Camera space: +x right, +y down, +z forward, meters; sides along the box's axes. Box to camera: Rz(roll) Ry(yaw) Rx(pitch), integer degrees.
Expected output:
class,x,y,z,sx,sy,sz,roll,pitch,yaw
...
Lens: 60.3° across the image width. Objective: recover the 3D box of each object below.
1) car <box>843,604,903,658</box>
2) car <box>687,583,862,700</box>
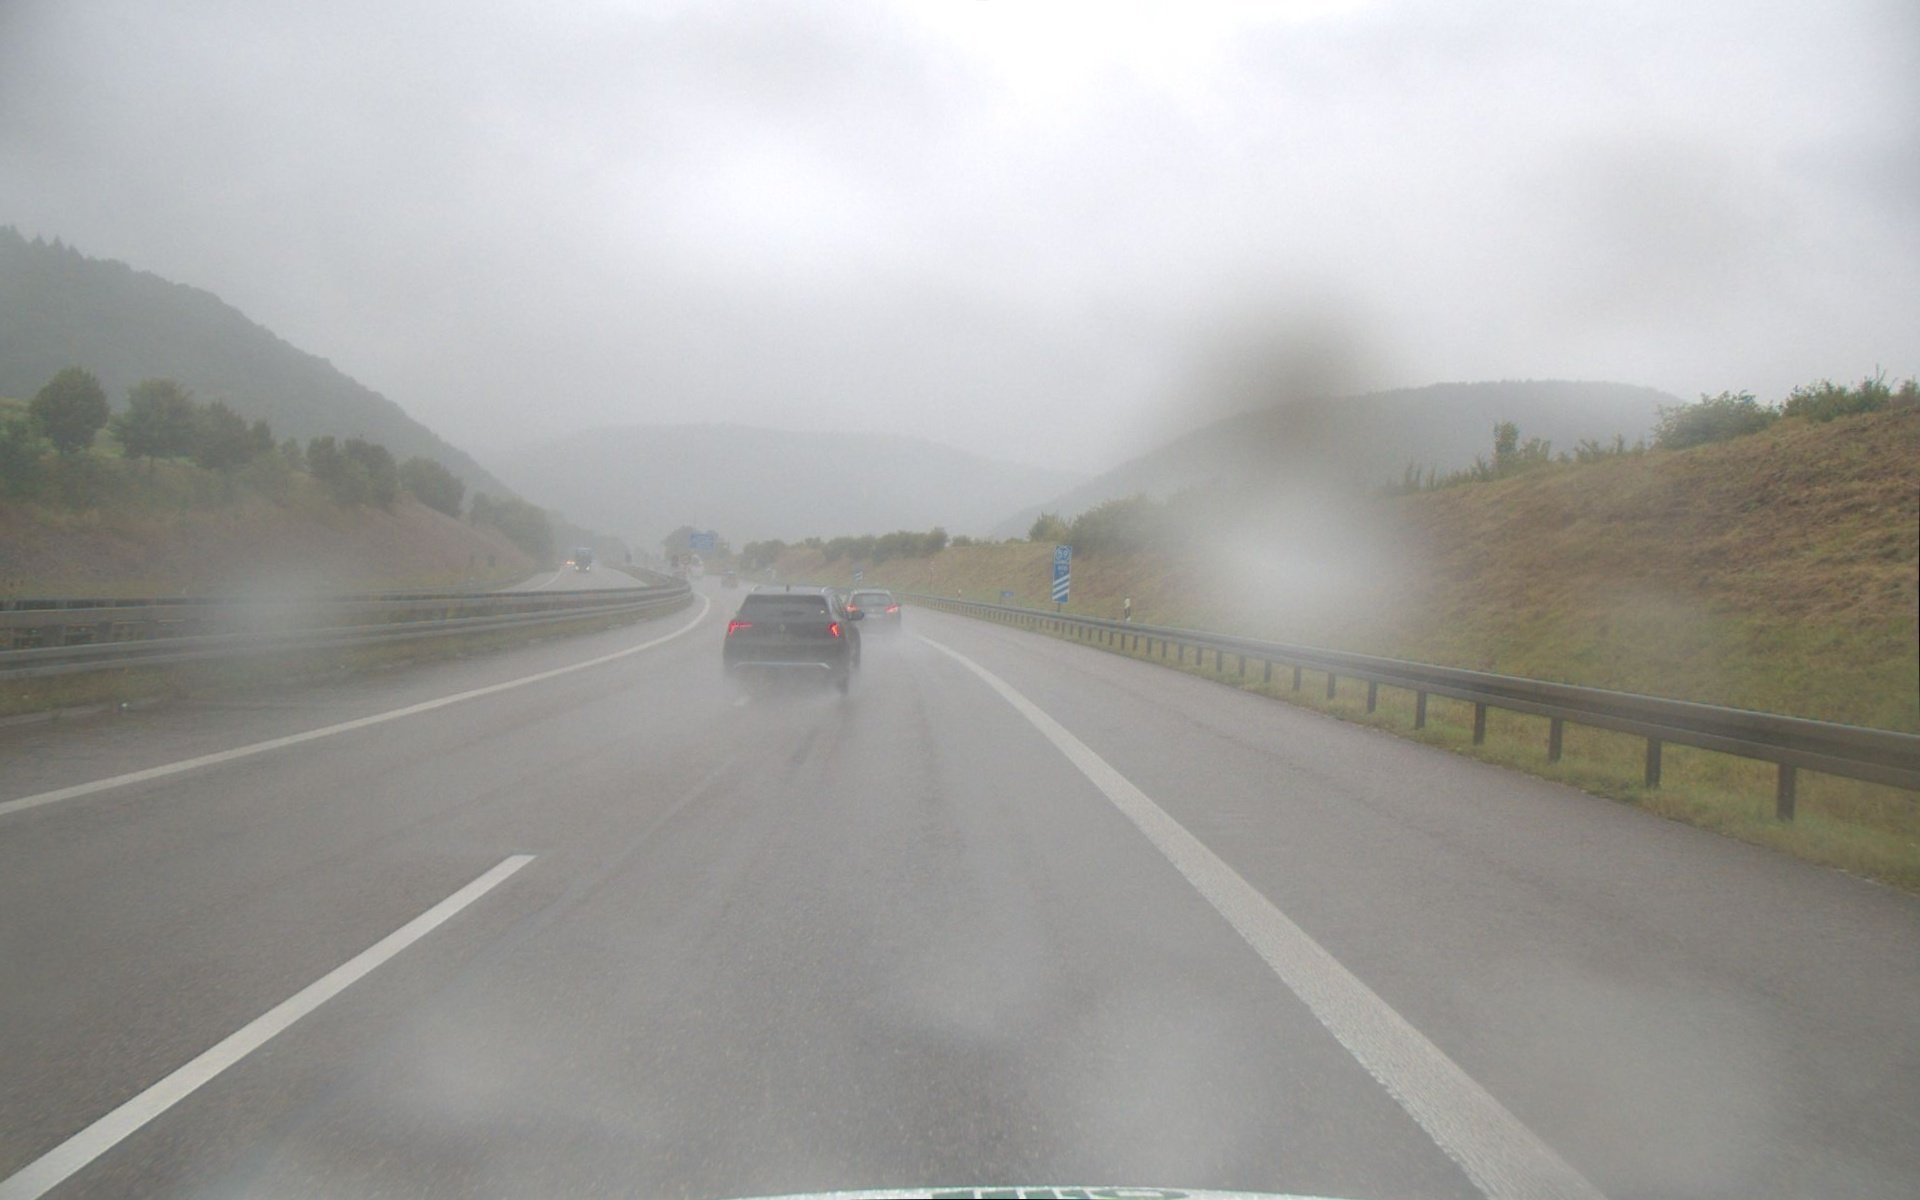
class,x,y,z,sx,sy,sz,roll,pitch,yaw
car,-2.614,0.902,49.603,1.646,1.498,3.812,2,0,-3
car,-2.800,0.599,25.405,2.359,1.542,4.778,2,-1,-6
